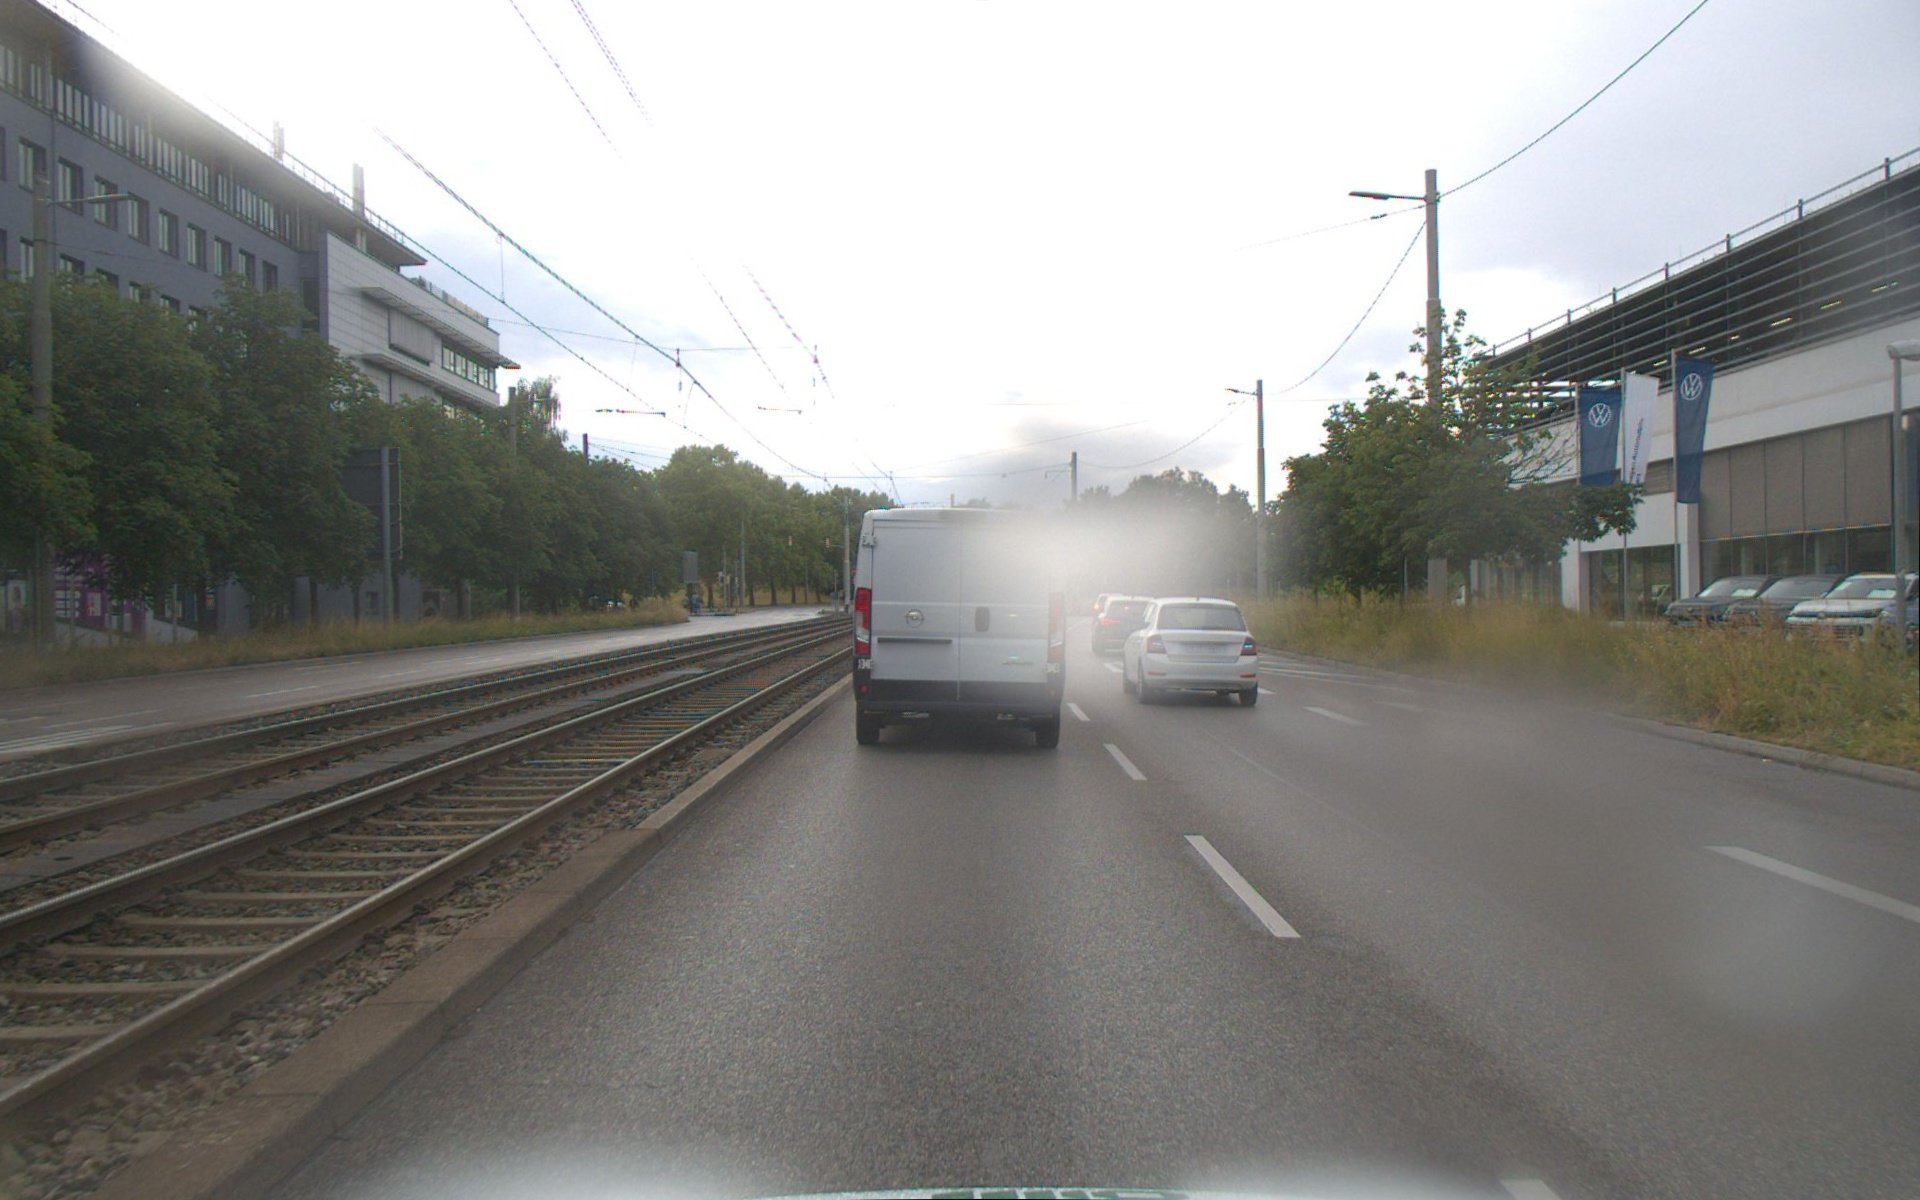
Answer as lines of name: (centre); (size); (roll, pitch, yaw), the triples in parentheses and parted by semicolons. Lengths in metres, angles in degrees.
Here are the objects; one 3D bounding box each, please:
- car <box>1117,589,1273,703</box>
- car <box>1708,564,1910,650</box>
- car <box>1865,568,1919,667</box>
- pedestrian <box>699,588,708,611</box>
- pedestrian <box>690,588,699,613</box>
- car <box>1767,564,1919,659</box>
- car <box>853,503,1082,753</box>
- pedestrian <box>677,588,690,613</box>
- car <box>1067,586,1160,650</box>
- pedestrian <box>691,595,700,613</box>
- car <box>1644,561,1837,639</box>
car: (3.333, 0.603, 24.038); (1.711, 1.483, 3.671); (2, 0, 0)
car: (17.854, 0.131, 34.745); (4.319, 1.596, 1.779); (-2, -1, -32)
car: (17.237, 0.212, 27.933); (4.143, 1.596, 1.777); (-2, -1, -36)
pedestrian: (-20.631, -0.027, 132.906); (0.495, 1.818, 0.832); (1, 0, 5)
pedestrian: (-21.376, 0.031, 133.151); (0.485, 1.990, 0.722); (1, 0, 5)
car: (17.584, 0.182, 31.582); (4.297, 1.654, 1.837); (-2, -1, -31)
car: (0.029, 0.229, 17.580); (2.048, 2.234, 5.060); (1, 1, -1)
pedestrian: (-22.484, 0.048, 134.521); (0.869, 2.049, 0.865); (-1, 0, -4)
car: (3.715, 0.426, 40.591); (1.753, 1.474, 3.998); (1, 0, -2)
pedestrian: (-21.519, 0.312, 134.572); (0.485, 1.499, 0.722); (1, 0, 2)
car: (18.321, -0.007, 38.785); (4.564, 1.596, 1.833); (-2, -1, -31)
